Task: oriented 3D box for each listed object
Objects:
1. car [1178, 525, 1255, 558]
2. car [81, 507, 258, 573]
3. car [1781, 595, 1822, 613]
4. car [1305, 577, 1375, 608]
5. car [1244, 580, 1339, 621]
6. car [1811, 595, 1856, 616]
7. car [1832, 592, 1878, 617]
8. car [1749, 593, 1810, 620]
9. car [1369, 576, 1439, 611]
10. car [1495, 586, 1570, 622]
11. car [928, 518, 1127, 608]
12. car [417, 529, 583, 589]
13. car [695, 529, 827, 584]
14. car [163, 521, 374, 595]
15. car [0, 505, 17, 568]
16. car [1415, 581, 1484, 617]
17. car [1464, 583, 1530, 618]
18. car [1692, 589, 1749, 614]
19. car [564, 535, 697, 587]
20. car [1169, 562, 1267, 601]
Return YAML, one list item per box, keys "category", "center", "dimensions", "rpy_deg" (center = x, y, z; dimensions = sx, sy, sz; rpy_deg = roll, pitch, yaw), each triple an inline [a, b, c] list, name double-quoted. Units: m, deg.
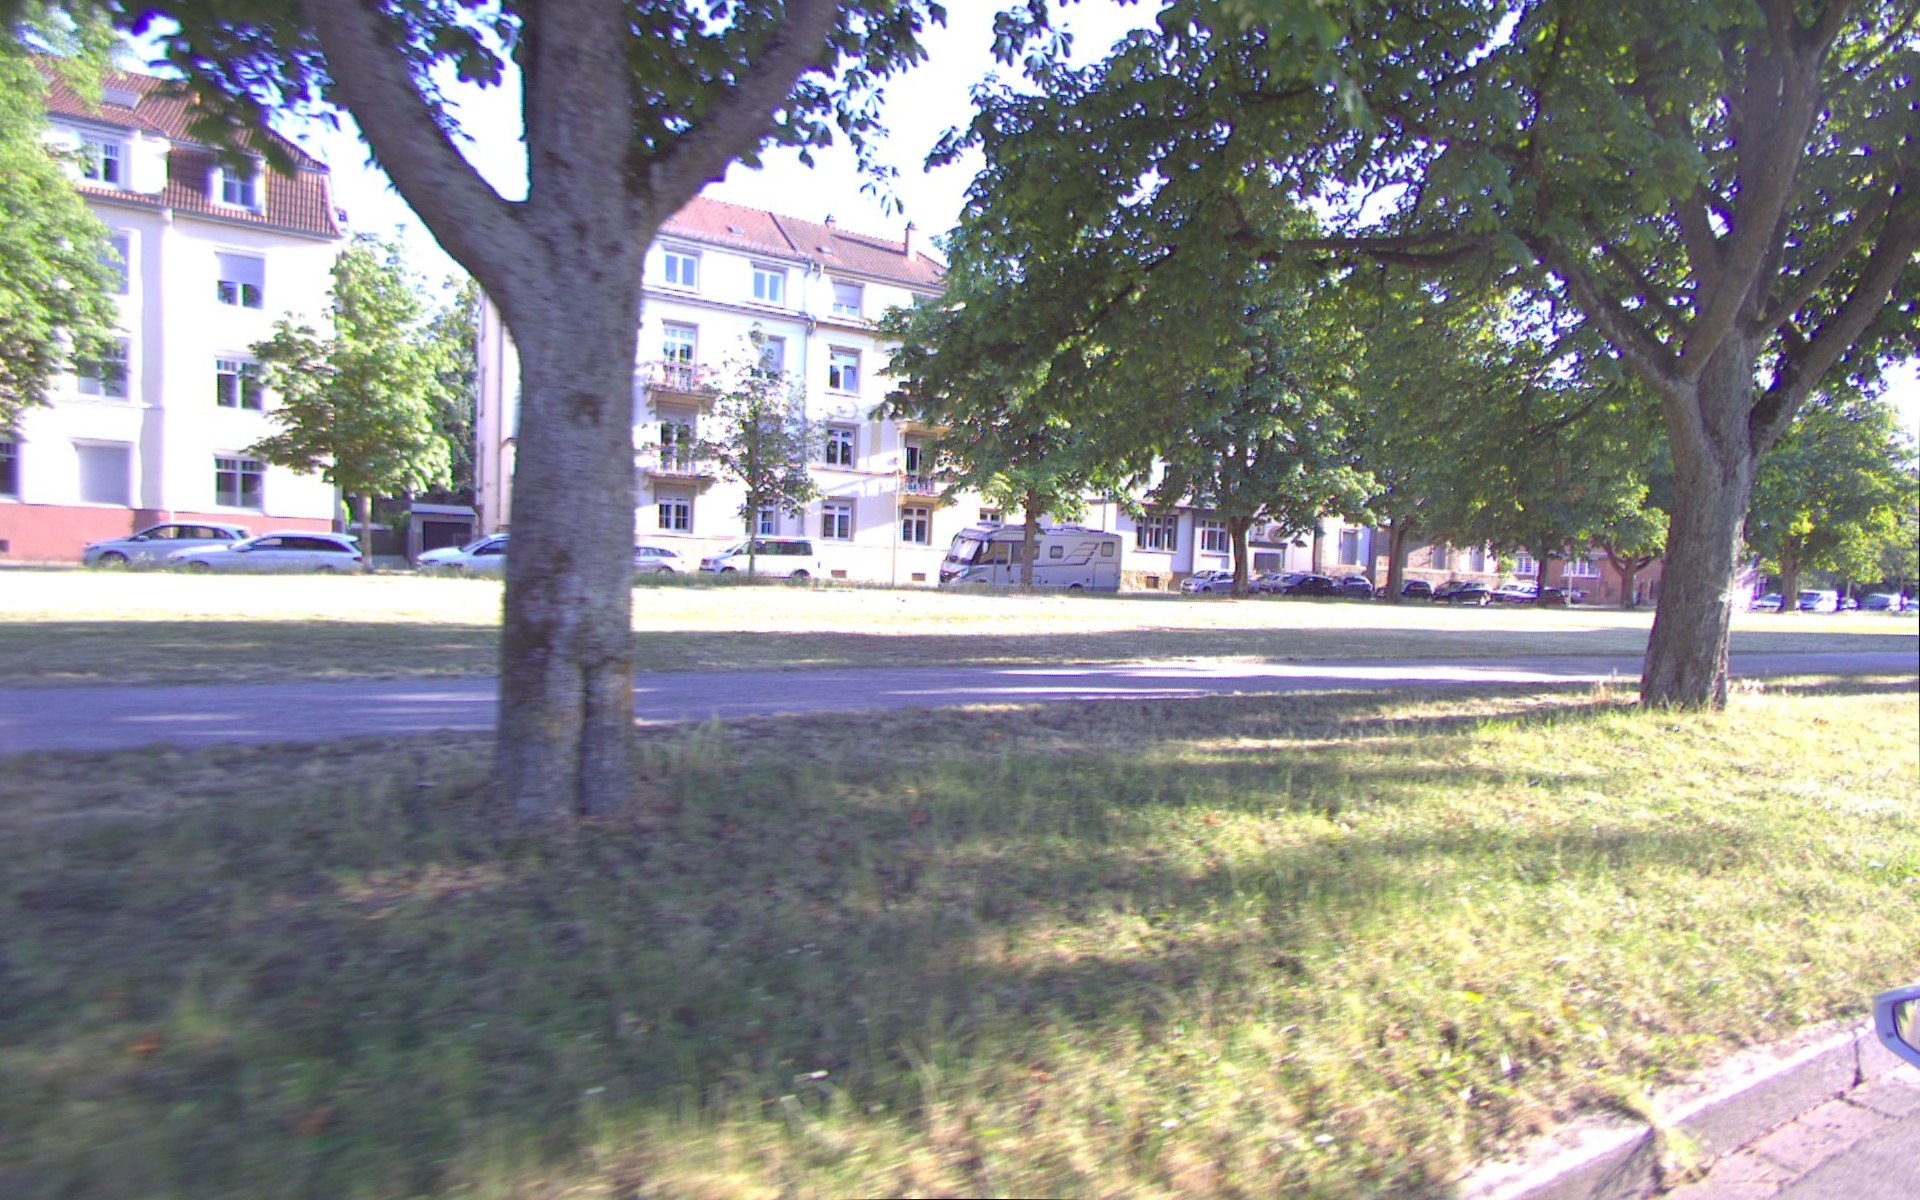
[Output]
- category: "car"
  center: [15.982, -3.628, 62.552]
  dimensions: [4.321, 1.681, 1.985]
  rpy_deg: [2, 4, -29]
- category: "car"
  center: [-24.101, -1.847, 30.832]
  dimensions: [3.951, 1.681, 1.985]
  rpy_deg: [2, 5, -29]
- category: "car"
  center: [74.786, 0.354, 89.280]
  dimensions: [3.431, 1.360, 1.674]
  rpy_deg: [2, 4, -31]
- category: "car"
  center: [21.899, -0.429, 57.921]
  dimensions: [3.748, 1.604, 1.749]
  rpy_deg: [1, 5, -31]
- category: "car"
  center: [15.875, 0.039, 48.081]
  dimensions: [4.264, 1.697, 1.870]
  rpy_deg: [2, 4, -30]
- category: "car"
  center: [81.159, 0.519, 93.336]
  dimensions: [3.956, 1.640, 1.982]
  rpy_deg: [2, 4, -32]
- category: "car"
  center: [75.155, 0.371, 84.320]
  dimensions: [3.837, 1.712, 1.718]
  rpy_deg: [3, 4, -32]
- category: "car"
  center: [59.574, 0.461, 73.003]
  dimensions: [3.937, 1.681, 2.013]
  rpy_deg: [2, 4, -30]
- category: "car"
  center: [26.912, -0.390, 60.912]
  dimensions: [3.870, 1.827, 1.855]
  rpy_deg: [2, 4, -31]
- category: "car"
  center: [33.140, 0.258, 58.164]
  dimensions: [4.073, 1.805, 1.803]
  rpy_deg: [2, 4, -30]
- category: "car"
  center: [2.767, -1.421, 40.000]
  dimensions: [7.760, 3.173, 2.380]
  rpy_deg: [1, 5, -30]
- category: "car"
  center: [-13.811, -1.213, 30.216]
  dimensions: [4.370, 1.575, 1.785]
  rpy_deg: [0, 5, -32]
- category: "car"
  center: [-8.000, -1.725, 40.484]
  dimensions: [4.823, 1.976, 1.983]
  rpy_deg: [1, 3, -32]
- category: "car"
  center: [-18.673, -1.133, 27.419]
  dimensions: [4.515, 1.681, 1.985]
  rpy_deg: [2, 4, -29]
- category: "car"
  center: [-29.531, -1.897, 28.056]
  dimensions: [4.259, 1.759, 1.985]
  rpy_deg: [2, 4, -29]
- category: "car"
  center: [31.030, -0.057, 63.621]
  dimensions: [3.956, 2.041, 1.982]
  rpy_deg: [2, 4, -32]
- category: "car"
  center: [35.432, 0.057, 66.266]
  dimensions: [3.956, 2.041, 1.982]
  rpy_deg: [2, 4, -32]
- category: "car"
  center: [61.165, 0.104, 80.778]
  dimensions: [4.302, 1.681, 1.985]
  rpy_deg: [2, 4, -29]
- category: "car"
  center: [-12.341, -1.454, 37.648]
  dimensions: [4.422, 1.663, 1.833]
  rpy_deg: [1, 5, -30]
- category: "car"
  center: [13.723, -0.963, 53.351]
  dimensions: [5.103, 1.712, 1.982]
  rpy_deg: [2, 4, -33]
